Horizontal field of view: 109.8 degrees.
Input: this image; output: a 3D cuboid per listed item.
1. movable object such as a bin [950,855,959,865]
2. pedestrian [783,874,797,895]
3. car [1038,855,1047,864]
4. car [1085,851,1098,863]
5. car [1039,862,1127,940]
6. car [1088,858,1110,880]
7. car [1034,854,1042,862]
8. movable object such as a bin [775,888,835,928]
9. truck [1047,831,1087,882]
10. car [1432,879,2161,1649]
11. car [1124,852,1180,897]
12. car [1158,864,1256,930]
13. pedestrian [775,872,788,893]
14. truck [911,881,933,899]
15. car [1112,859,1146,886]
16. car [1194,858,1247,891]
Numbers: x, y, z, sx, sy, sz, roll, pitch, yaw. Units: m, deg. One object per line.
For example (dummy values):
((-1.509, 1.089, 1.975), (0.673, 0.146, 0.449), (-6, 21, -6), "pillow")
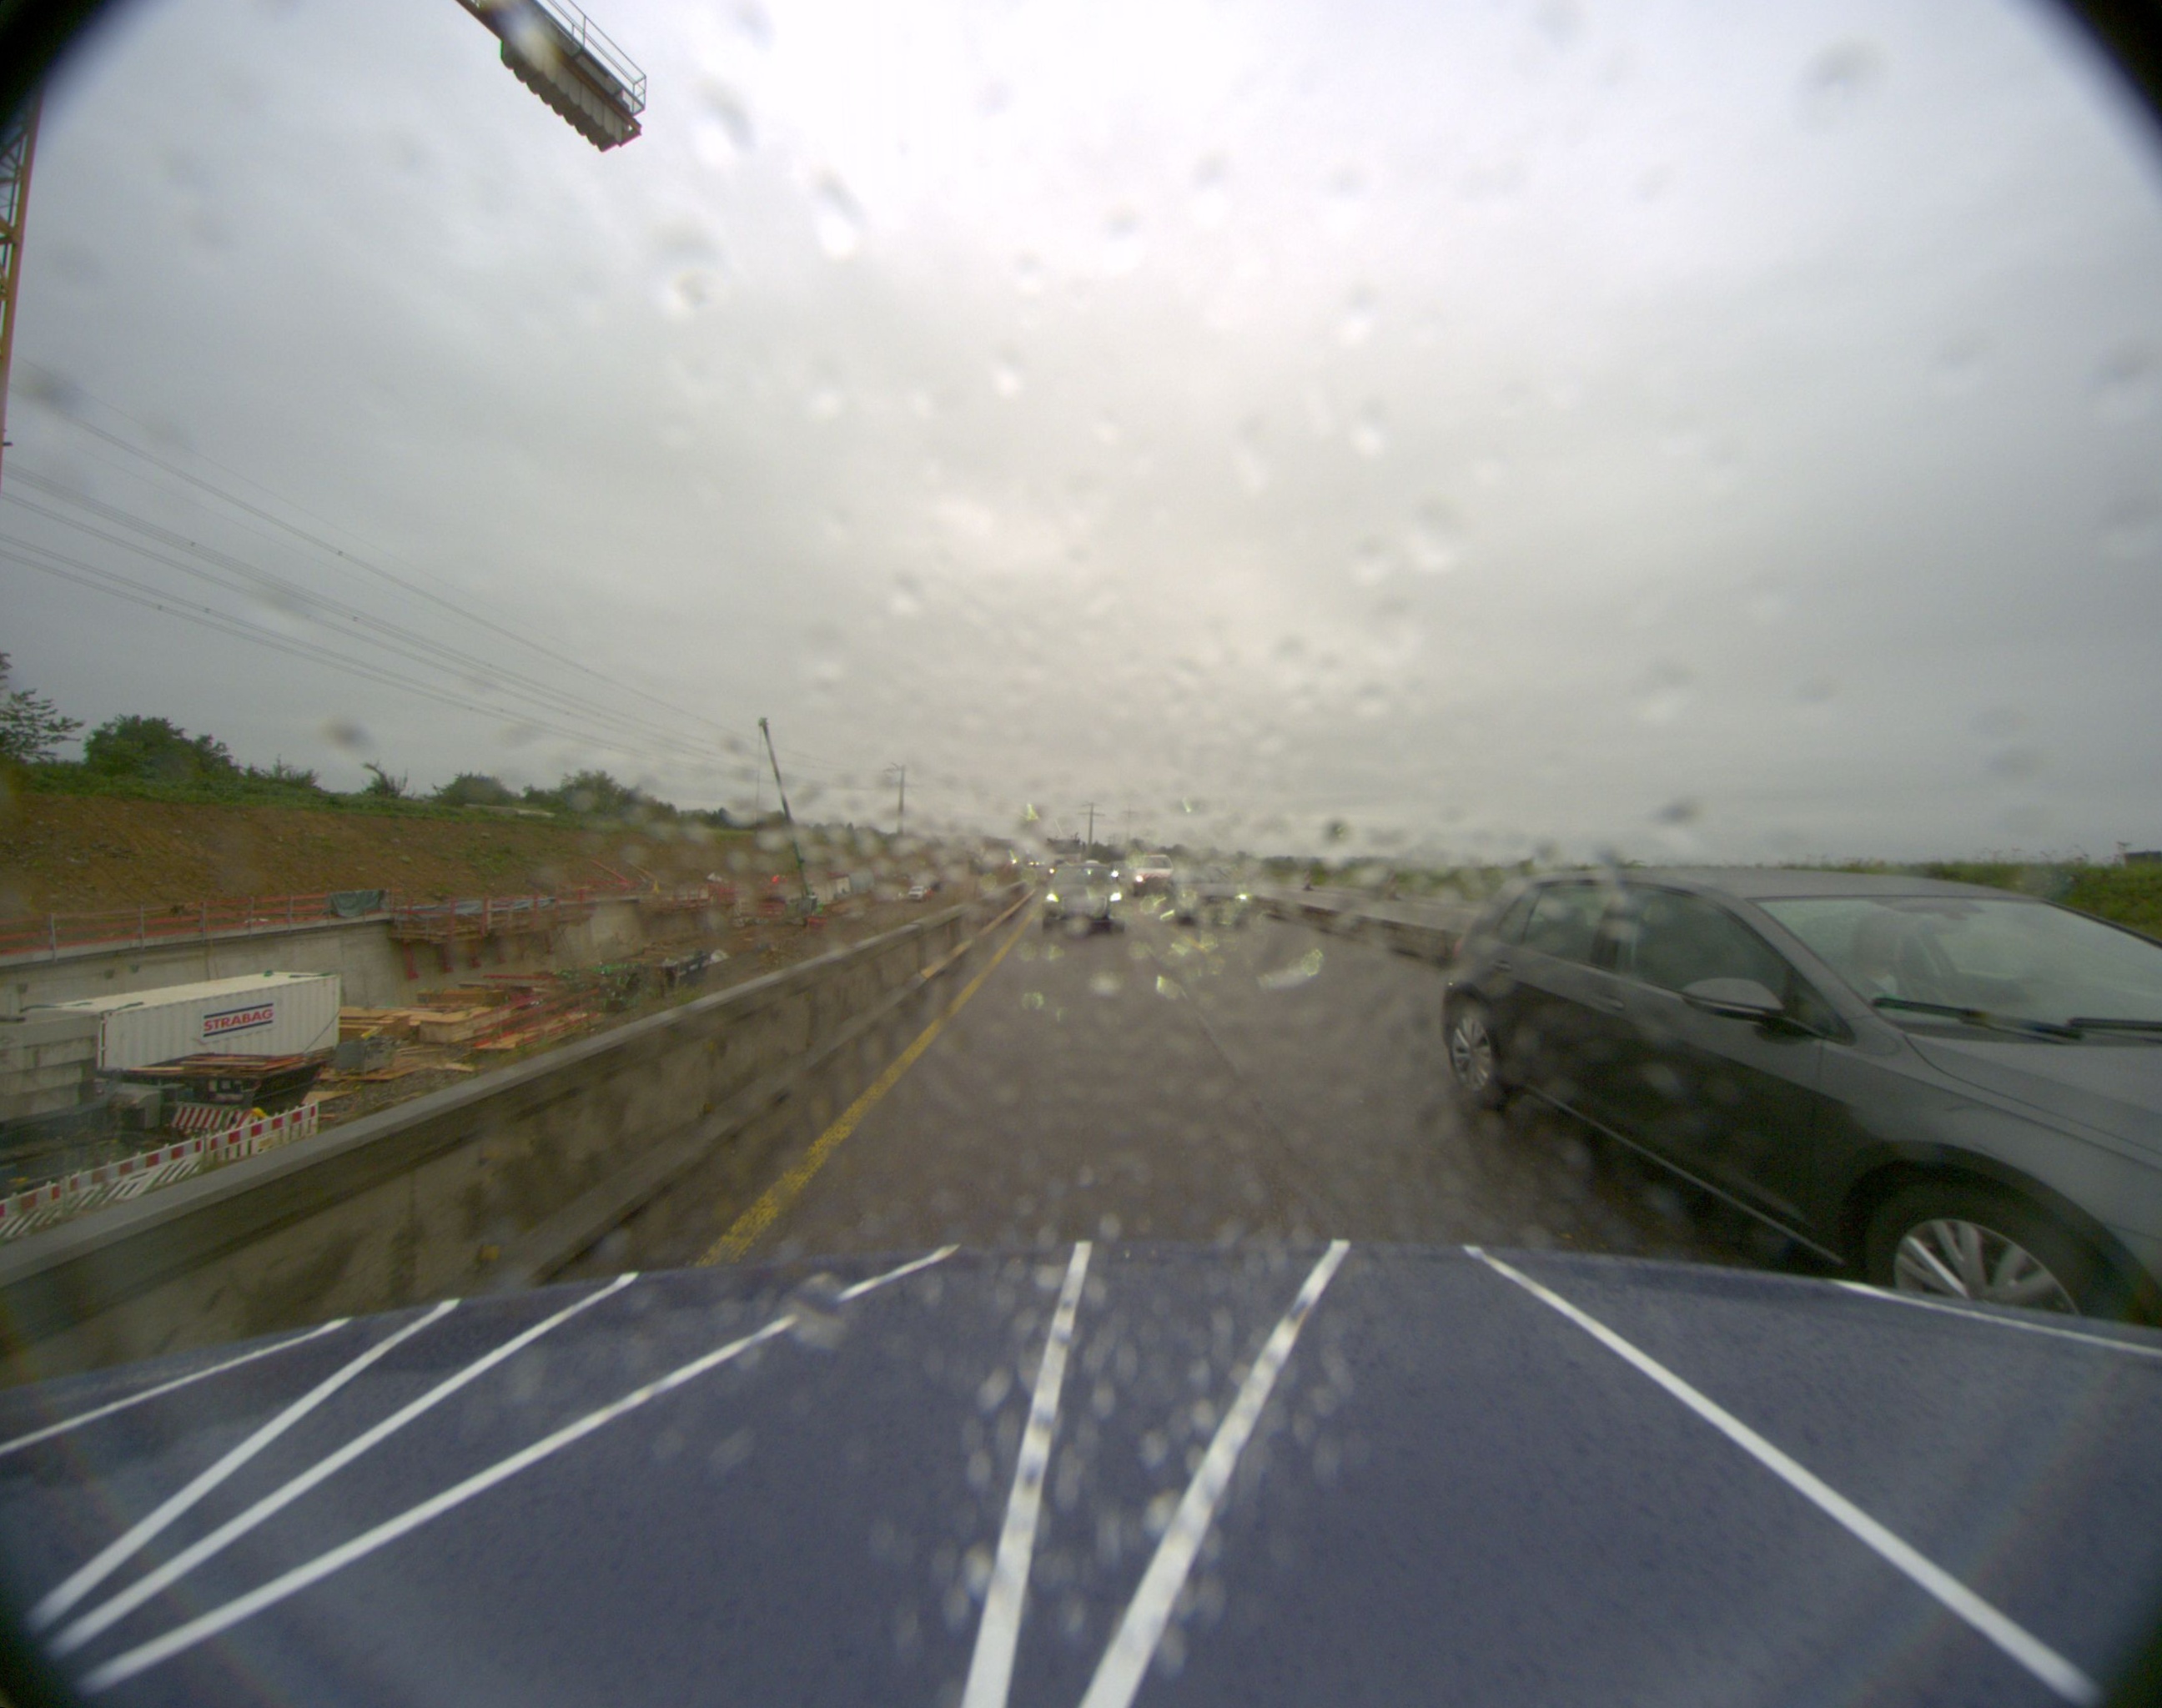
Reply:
((-36.486, 1.634, 218.660), (2.253, 2.703, 3.997), (-1, 1, -6), "movable object such as a bin")
((-32.588, 3.361, 85.014), (0.917, 2.219, 1.005), (-5, 2, 1), "pedestrian")
((-8.686, 1.271, 170.900), (1.800, 1.850, 4.285), (-1, 1, -3), "car")
((1.553, 0.488, 112.523), (1.795, 1.713, 4.287), (-1, 0, -1), "car")
((0.095, 0.997, 17.886), (1.799, 1.524, 4.308), (-1, 0, 1), "car")
((1.675, 1.406, 72.298), (1.800, 1.850, 4.286), (-1, 1, -2), "car")
((-10.897, 1.083, 194.183), (1.800, 1.850, 4.286), (-1, 1, -1), "car")
((-24.773, 4.783, 68.486), (3.803, 2.790, 4.848), (0, 5, -4), "movable object such as a bin")
((-1.067, 0.155, 59.591), (2.837, 3.617, 9.118), (-1, 1, -1), "truck")
((3.066, 0.898, 2.888), (1.653, 1.414, 4.080), (-1, 1, 1), "car")
((3.199, 0.887, 35.205), (2.160, 1.848, 5.179), (-1, 1, 1), "car")
((3.115, 1.026, 19.667), (1.799, 1.389, 4.268), (-1, 1, 0), "car")
((-33.869, 3.182, 85.834), (0.918, 2.233, 1.005), (-6, 2, -7), "pedestrian")
((-19.725, 4.471, 94.189), (1.767, 1.860, 5.784), (1, 1, -3), "truck")
((2.966, 1.139, 47.724), (1.799, 1.521, 4.067), (-1, 1, 0), "car")
((7.320, 1.042, 40.288), (1.923, 1.576, 4.895), (-1, 0, 0), "car")
